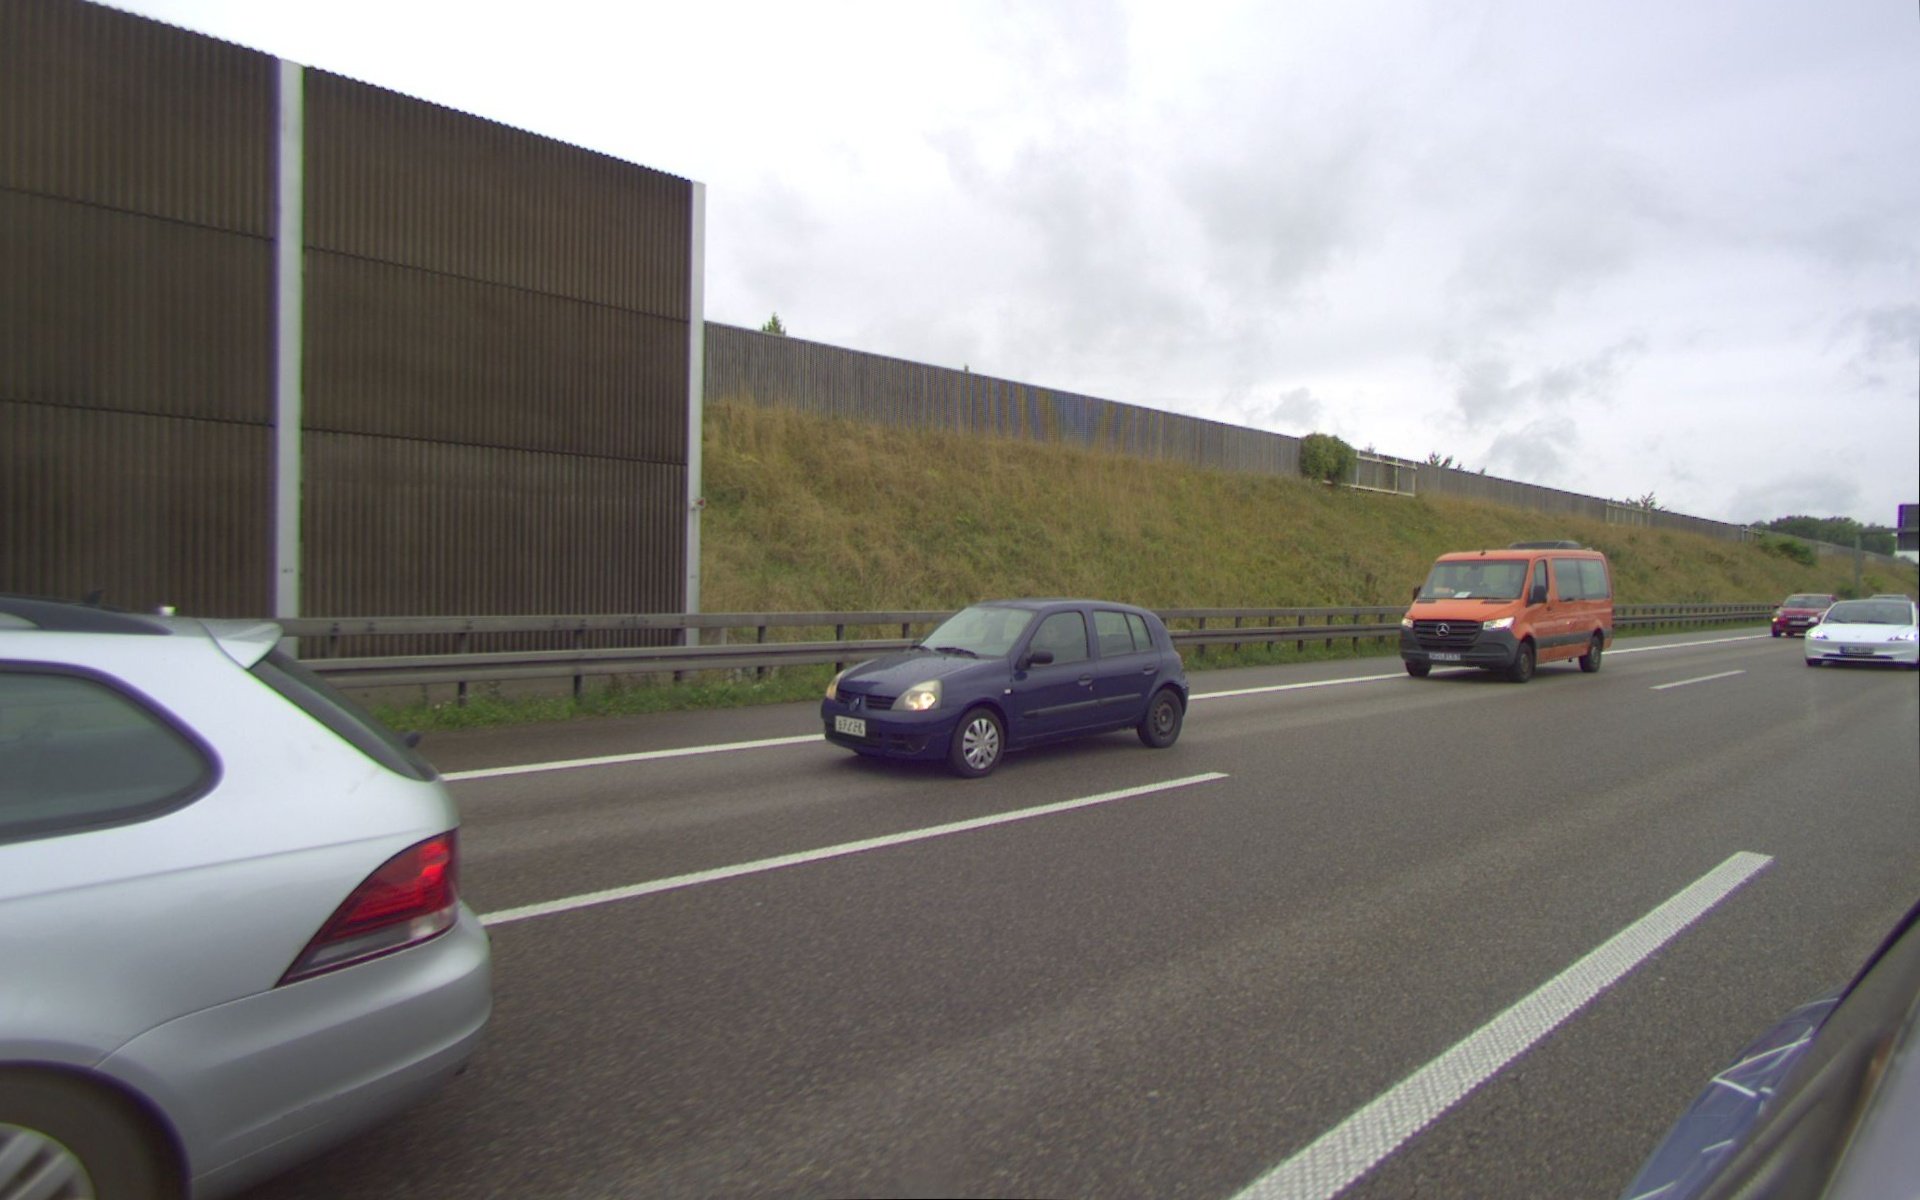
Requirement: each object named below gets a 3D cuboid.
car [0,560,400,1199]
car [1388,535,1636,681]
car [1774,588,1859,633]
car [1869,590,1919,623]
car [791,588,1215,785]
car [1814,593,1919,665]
[{"bbox_3d":[-3.433,0.643,1.367,4.438,1.443,1.745,0,1,-41],"label":"car"},{"bbox_3d":[10.523,0.098,19.024,6.073,2.344,2.090,0,1,-41],"label":"car"},{"bbox_3d":[31.636,0.363,37.336,3.931,1.555,1.876,-1,0,-42],"label":"car"},{"bbox_3d":[44.874,0.288,48.187,4.409,1.508,1.927,-1,0,-42],"label":"car"},{"bbox_3d":[0.528,0.625,9.363,3.808,1.419,1.705,-1,0,-41],"label":"car"},{"bbox_3d":[20.285,0.566,22.051,4.730,1.380,1.876,-1,0,-41],"label":"car"}]
